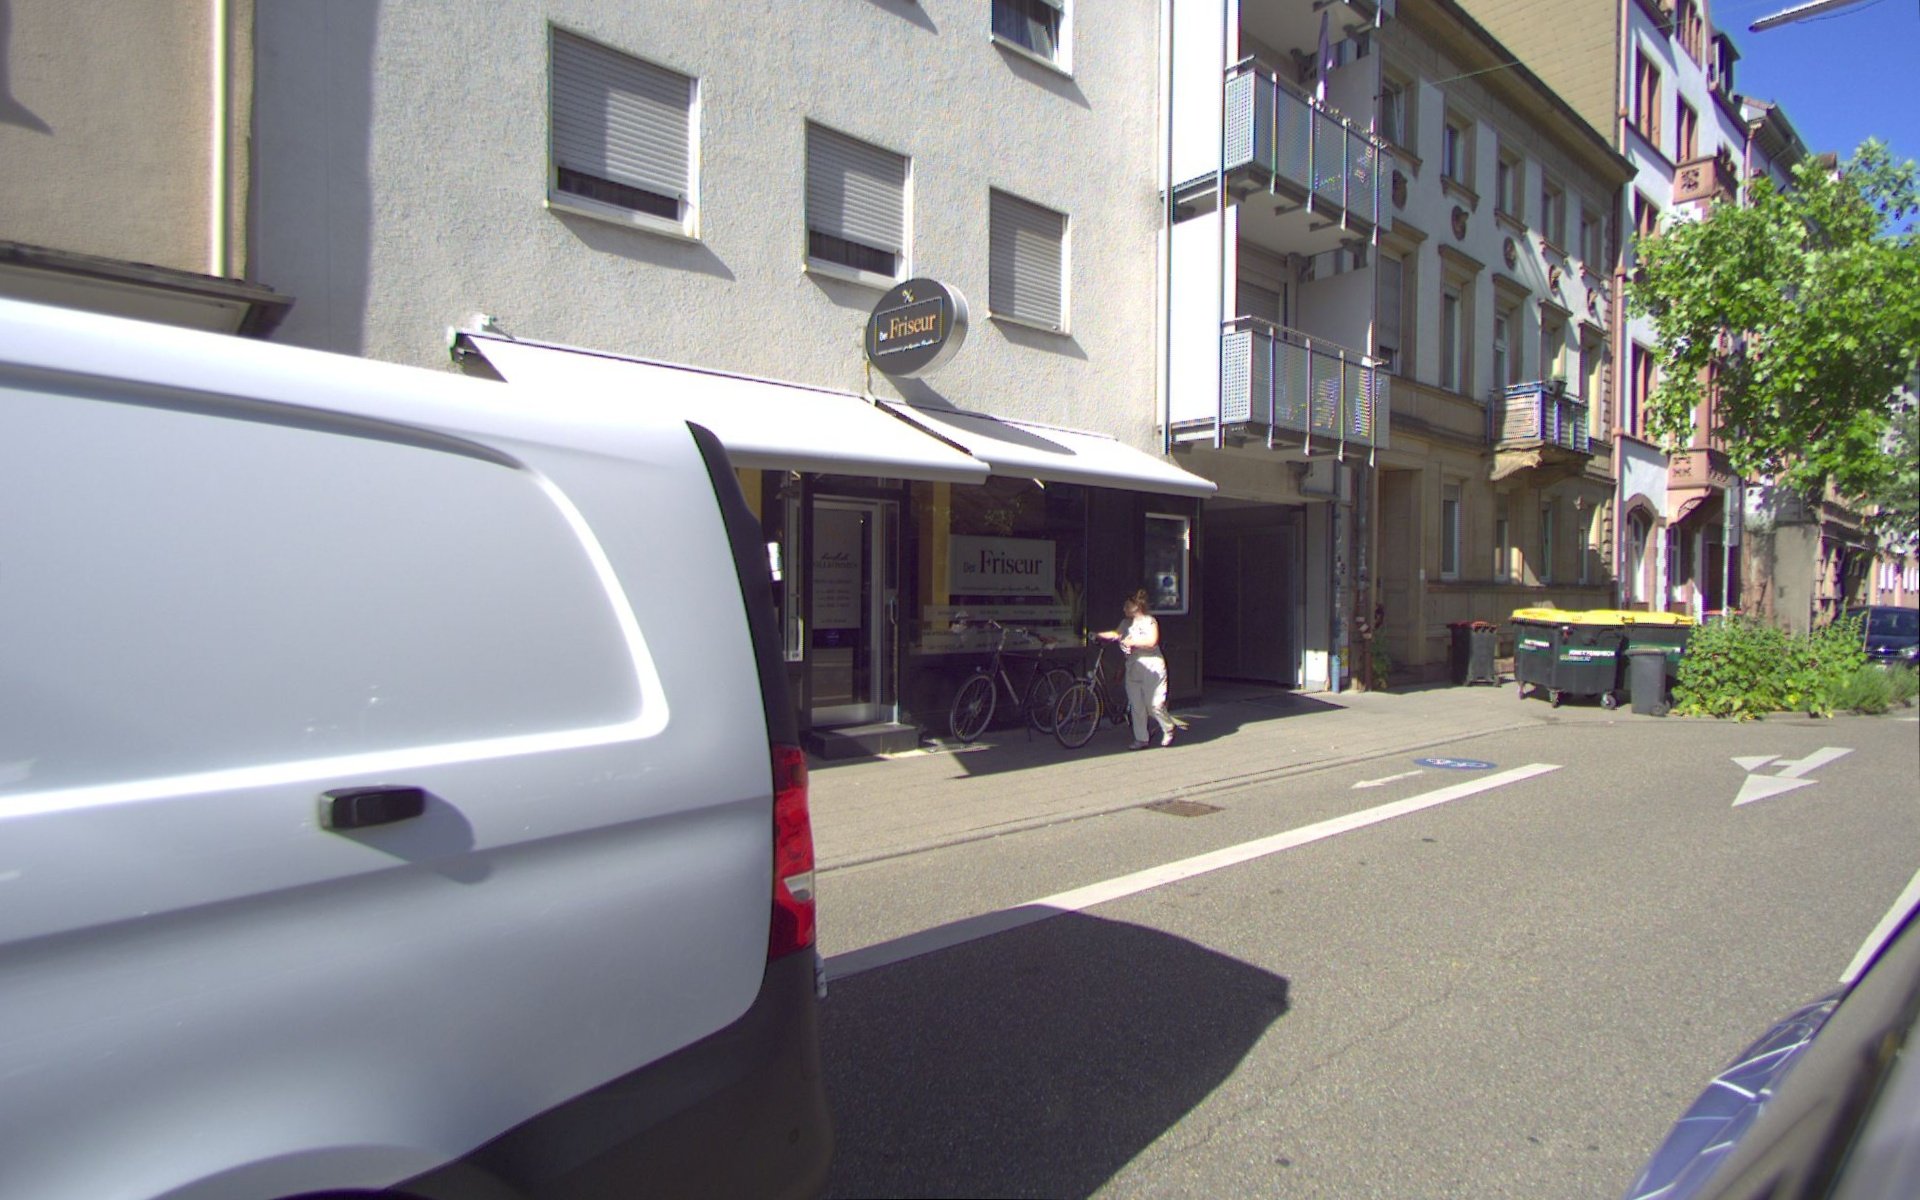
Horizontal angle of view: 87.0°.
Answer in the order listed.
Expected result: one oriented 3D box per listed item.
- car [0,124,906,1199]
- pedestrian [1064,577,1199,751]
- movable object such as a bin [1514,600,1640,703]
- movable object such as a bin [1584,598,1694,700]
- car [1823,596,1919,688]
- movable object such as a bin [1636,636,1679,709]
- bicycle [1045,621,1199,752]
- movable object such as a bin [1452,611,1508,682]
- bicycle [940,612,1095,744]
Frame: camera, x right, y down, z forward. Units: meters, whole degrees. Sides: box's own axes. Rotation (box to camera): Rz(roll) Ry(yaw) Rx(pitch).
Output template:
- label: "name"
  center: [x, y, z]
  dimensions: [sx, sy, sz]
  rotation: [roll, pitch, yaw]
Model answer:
- label: "car"
  center: [-2.519, 0.450, 0.863]
  dimensions: [4.911, 1.892, 1.838]
  rotation: [0, 1, -43]
- label: "pedestrian"
  center: [1.666, 0.579, 9.867]
  dimensions: [0.930, 1.556, 0.825]
  rotation: [0, 4, -41]
- label: "movable object such as a bin"
  center: [8.844, 0.711, 14.575]
  dimensions: [1.030, 1.341, 1.216]
  rotation: [1, 3, 1]
- label: "movable object such as a bin"
  center: [9.960, 0.696, 14.898]
  dimensions: [0.943, 1.365, 1.066]
  rotation: [1, 3, 11]
- label: "car"
  center: [16.839, 0.687, 18.212]
  dimensions: [3.293, 1.510, 1.550]
  rotation: [0, 1, -41]
- label: "movable object such as a bin"
  center: [9.573, 0.982, 13.884]
  dimensions: [0.399, 0.933, 0.478]
  rotation: [3, 3, 41]
- label: "bicycle"
  center: [1.624, 0.807, 9.976]
  dimensions: [1.760, 1.146, 0.402]
  rotation: [0, 4, -41]
- label: "movable object such as a bin"
  center: [8.534, 0.751, 16.621]
  dimensions: [0.557, 1.094, 0.617]
  rotation: [1, 3, 1]
- label: "bicycle"
  center: [0.605, 0.727, 10.101]
  dimensions: [1.760, 1.193, 0.402]
  rotation: [0, 0, -41]
